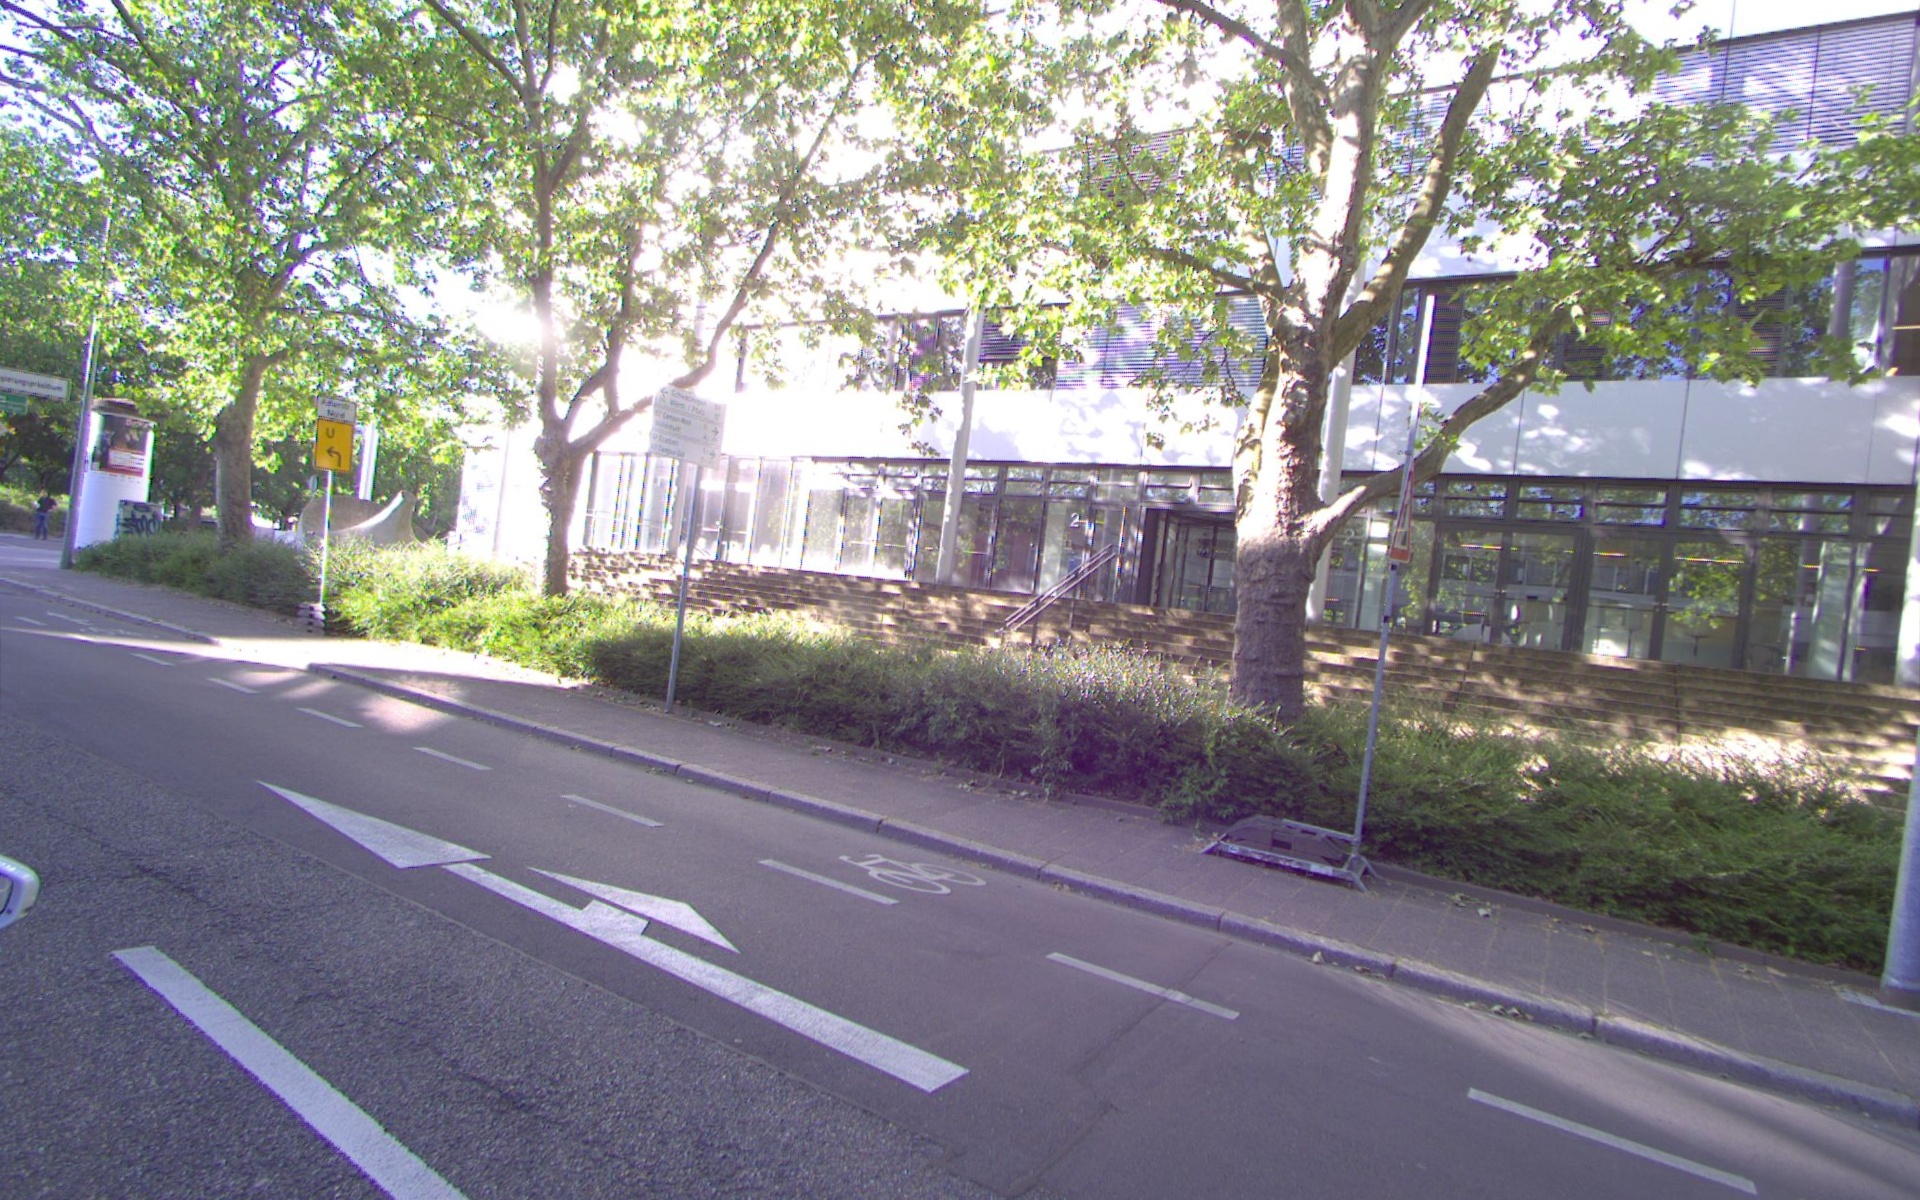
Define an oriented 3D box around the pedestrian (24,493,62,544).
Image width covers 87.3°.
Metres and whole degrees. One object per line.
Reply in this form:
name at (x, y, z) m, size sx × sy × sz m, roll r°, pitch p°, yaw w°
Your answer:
pedestrian at (-34.917, -3.095, 38.303) m, size 0.730 × 1.799 × 0.724 m, roll 8°, pitch -1°, yaw -28°
